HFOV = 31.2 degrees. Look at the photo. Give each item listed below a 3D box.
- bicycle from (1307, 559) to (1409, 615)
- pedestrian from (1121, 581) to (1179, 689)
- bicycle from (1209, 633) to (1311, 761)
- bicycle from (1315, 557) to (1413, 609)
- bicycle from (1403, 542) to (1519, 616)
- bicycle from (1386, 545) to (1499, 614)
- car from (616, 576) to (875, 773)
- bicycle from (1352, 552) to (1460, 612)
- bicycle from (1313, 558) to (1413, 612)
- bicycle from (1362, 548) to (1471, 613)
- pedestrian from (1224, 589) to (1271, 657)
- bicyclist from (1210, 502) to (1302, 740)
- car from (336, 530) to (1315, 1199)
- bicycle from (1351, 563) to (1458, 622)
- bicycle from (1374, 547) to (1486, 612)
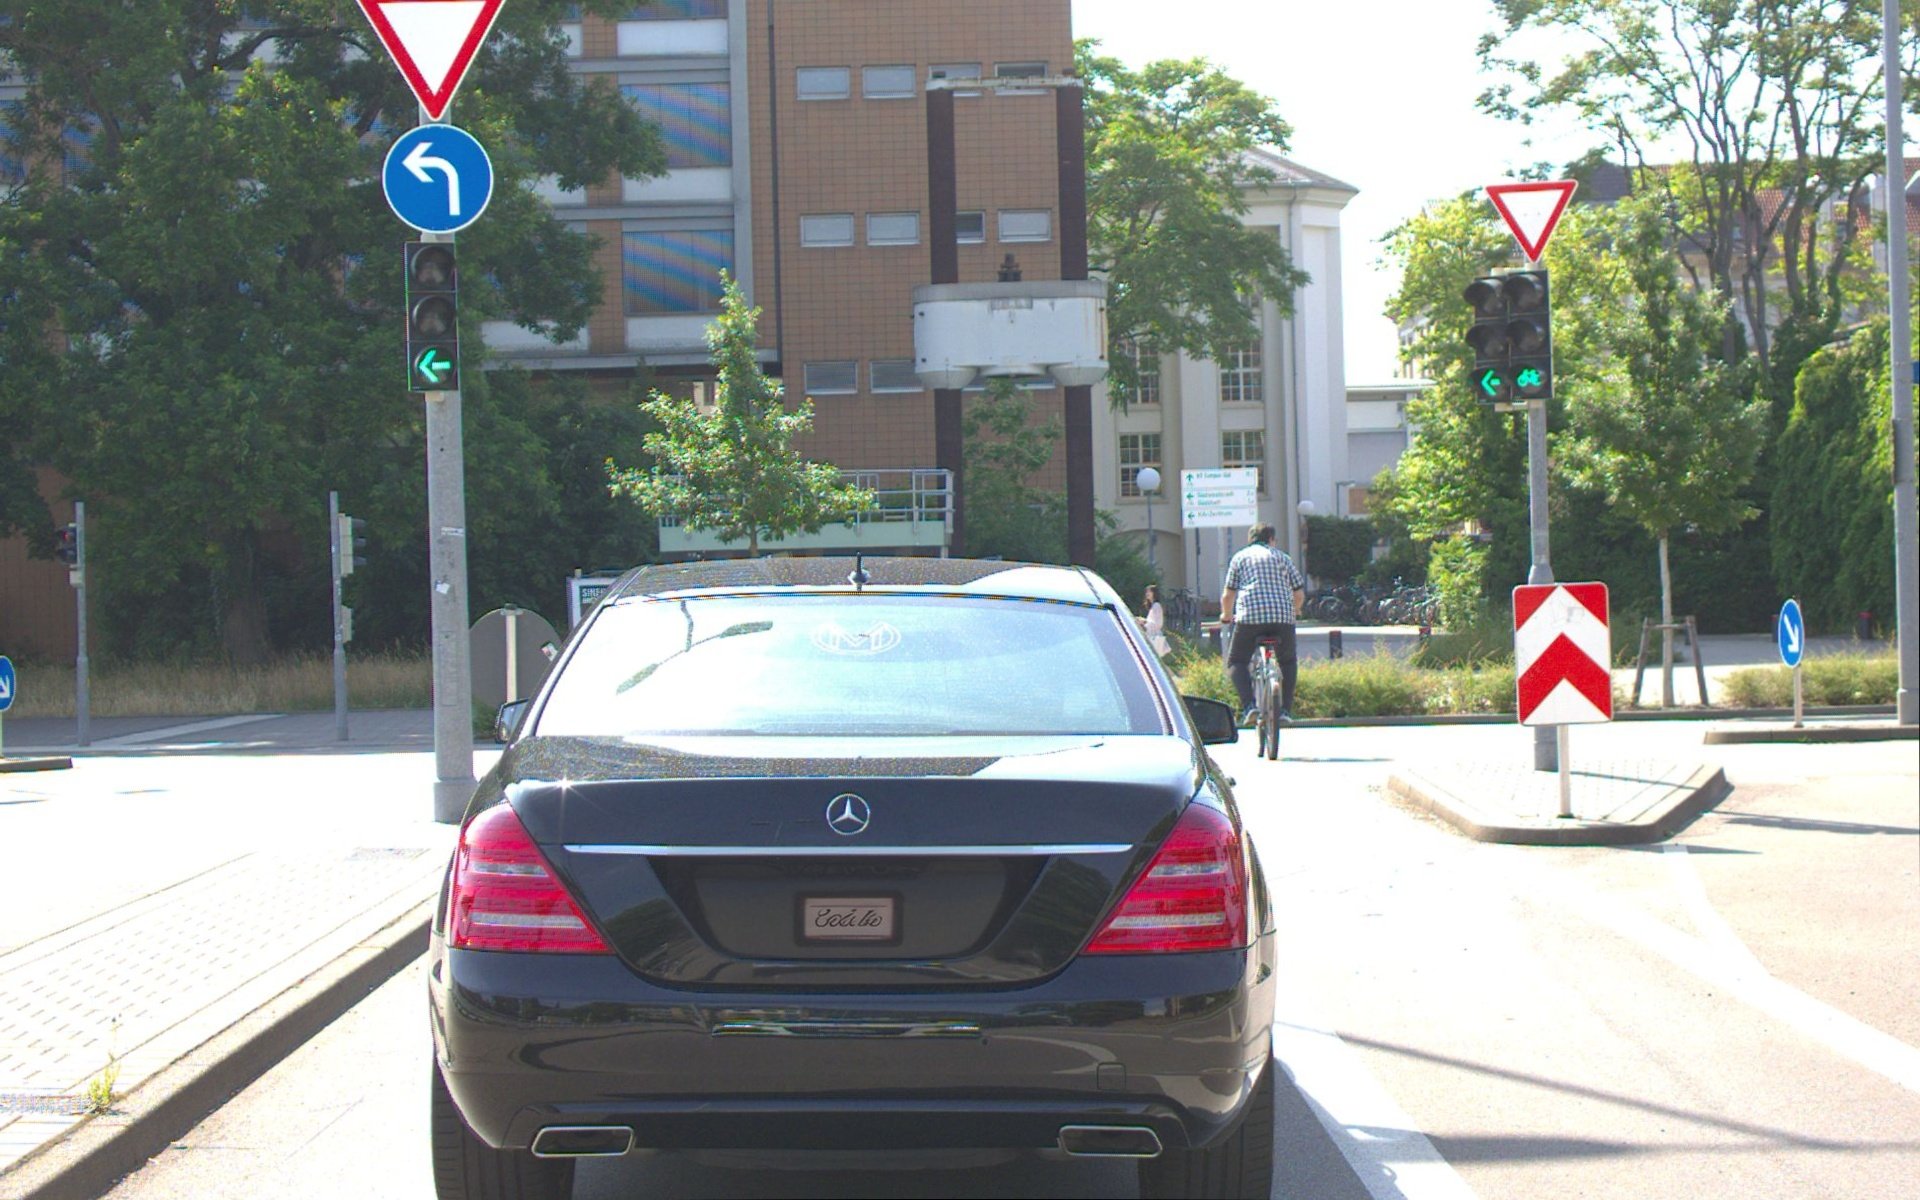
[{"bbox_3d":[11.574,-0.385,100.111,2.823,1.553,0.842,-2,0,-1],"label":"bicycle"},{"bbox_3d":[2.832,0.517,51.277,0.811,1.574,0.692,-2,0,2],"label":"pedestrian"},{"bbox_3d":[2.363,0.752,27.235,0.692,0.943,1.958,1,0,2],"label":"bicycle"},{"bbox_3d":[12.172,-0.522,103.666,2.823,1.475,0.841,-2,0,0],"label":"bicycle"},{"bbox_3d":[13.000,-0.548,89.290,2.823,1.830,0.842,-2,0,-1],"label":"bicycle"},{"bbox_3d":[12.841,-0.551,91.549,2.823,1.738,0.842,-2,0,-1],"label":"bicycle"},{"bbox_3d":[-1.878,0.629,28.951,1.794,1.505,4.001,-1,-1,-9],"label":"car"},{"bbox_3d":[12.353,-0.498,95.194,2.823,1.581,0.842,-2,0,-1],"label":"bicycle"},{"bbox_3d":[11.999,-0.444,102.302,2.823,1.495,0.842,-2,0,-1],"label":"bicycle"},{"bbox_3d":[12.487,-0.534,94.036,2.823,1.653,0.842,-2,2,-1],"label":"bicycle"},{"bbox_3d":[5.151,0.411,61.612,0.793,1.209,0.757,1,0,6],"label":"pedestrian"},{"bbox_3d":[2.360,0.161,27.503,0.686,1.872,0.859,0,0,2],"label":"bicyclist"},{"bbox_3d":[-0.311,0.630,8.916,1.858,1.525,4.714,0,0,-1],"label":"car"},{"bbox_3d":[12.428,-0.213,96.098,2.823,1.532,0.842,-2,0,-1],"label":"bicycle"},{"bbox_3d":[12.657,-0.556,92.629,2.823,1.643,0.842,-2,0,-1],"label":"bicycle"}]
